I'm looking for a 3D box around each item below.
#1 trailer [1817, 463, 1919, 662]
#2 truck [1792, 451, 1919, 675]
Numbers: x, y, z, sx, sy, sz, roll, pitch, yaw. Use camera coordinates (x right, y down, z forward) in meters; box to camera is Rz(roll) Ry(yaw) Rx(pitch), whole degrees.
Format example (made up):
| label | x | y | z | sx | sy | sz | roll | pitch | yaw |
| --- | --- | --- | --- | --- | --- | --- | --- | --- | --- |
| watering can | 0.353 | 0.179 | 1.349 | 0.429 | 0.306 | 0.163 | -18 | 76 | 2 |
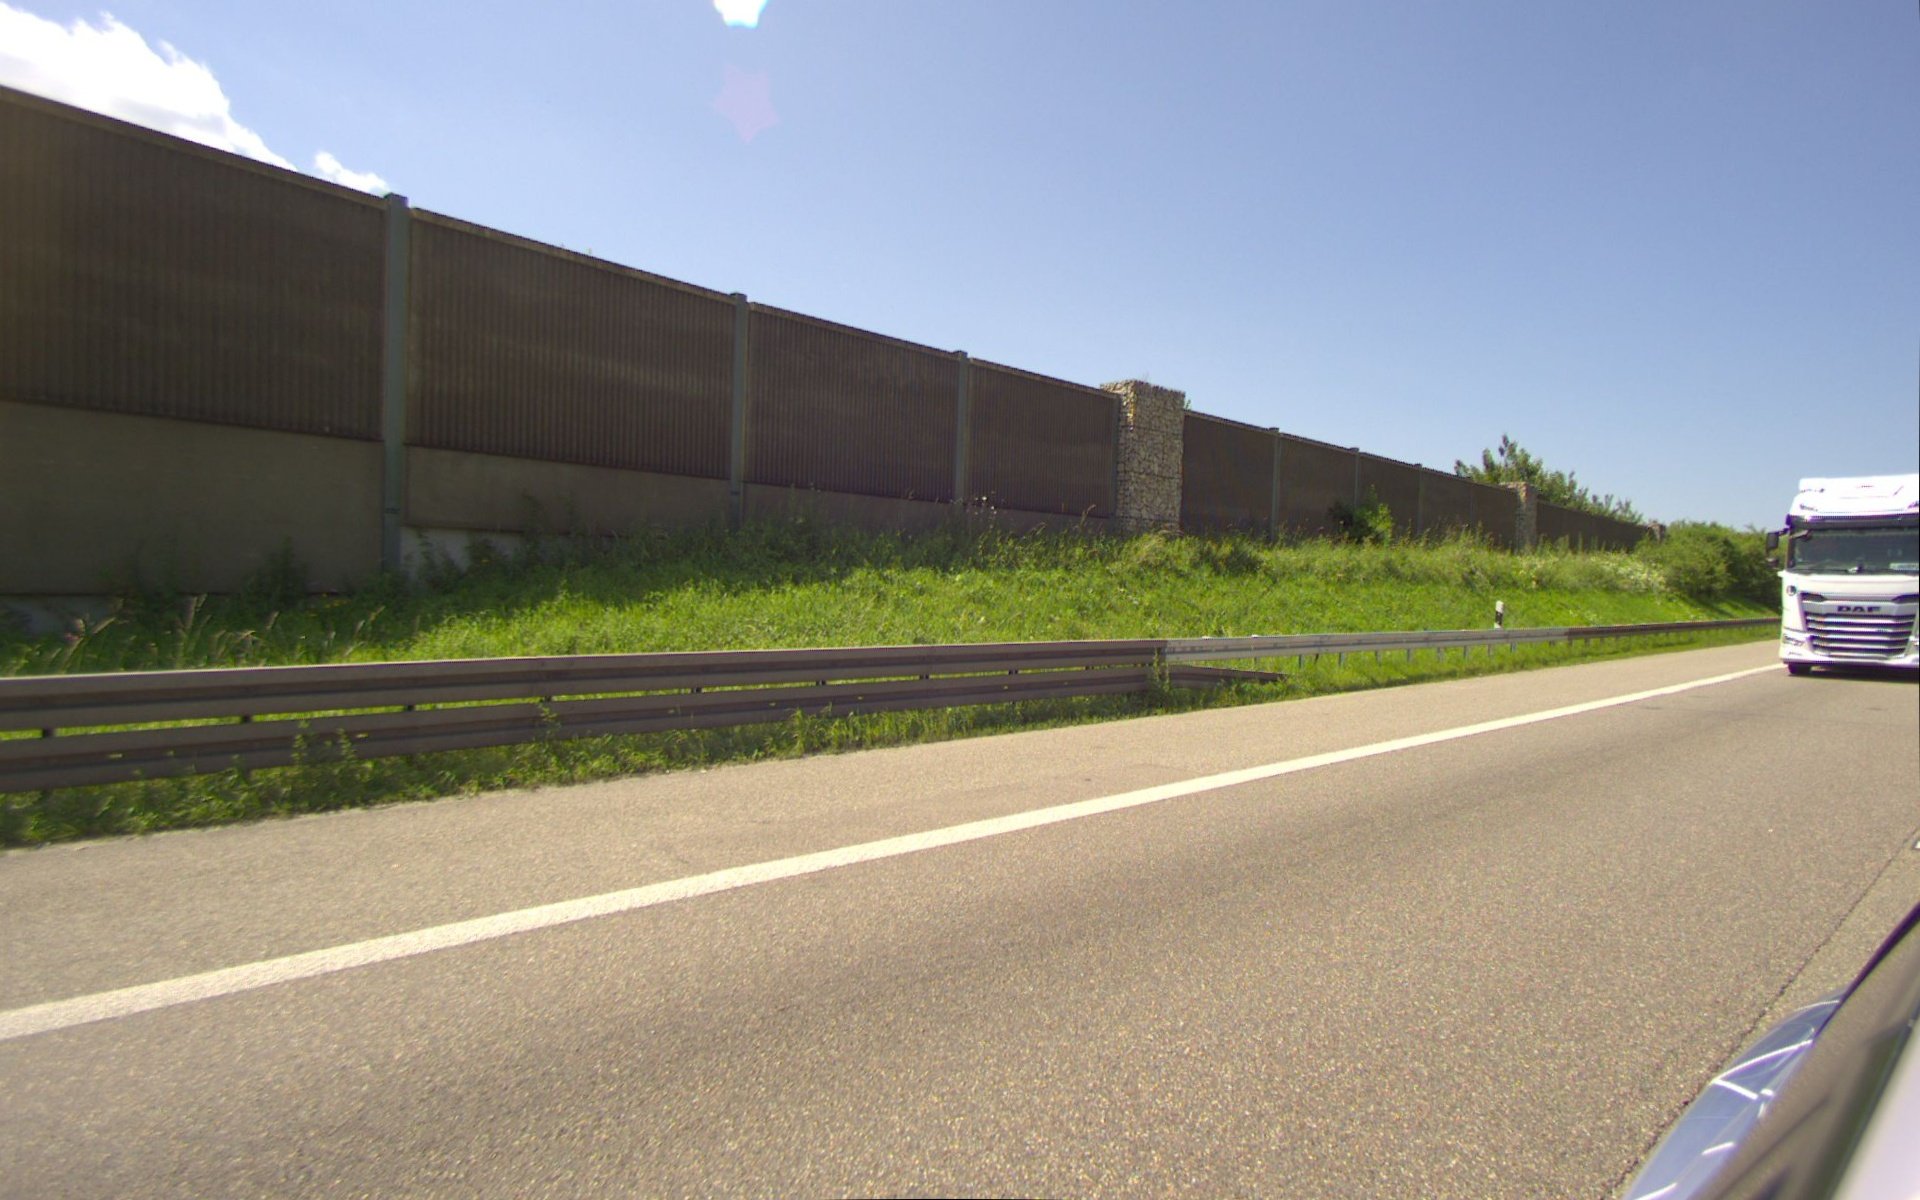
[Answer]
| label | x | y | z | sx | sy | sz | roll | pitch | yaw |
| --- | --- | --- | --- | --- | --- | --- | --- | --- | --- |
| trailer | 24.159 | -0.790 | 25.290 | 13.422 | 4.027 | 2.481 | 0 | 1 | -43 |
| truck | 19.203 | -0.686 | 20.717 | 6.272 | 4.027 | 2.481 | 0 | 1 | -42 |
